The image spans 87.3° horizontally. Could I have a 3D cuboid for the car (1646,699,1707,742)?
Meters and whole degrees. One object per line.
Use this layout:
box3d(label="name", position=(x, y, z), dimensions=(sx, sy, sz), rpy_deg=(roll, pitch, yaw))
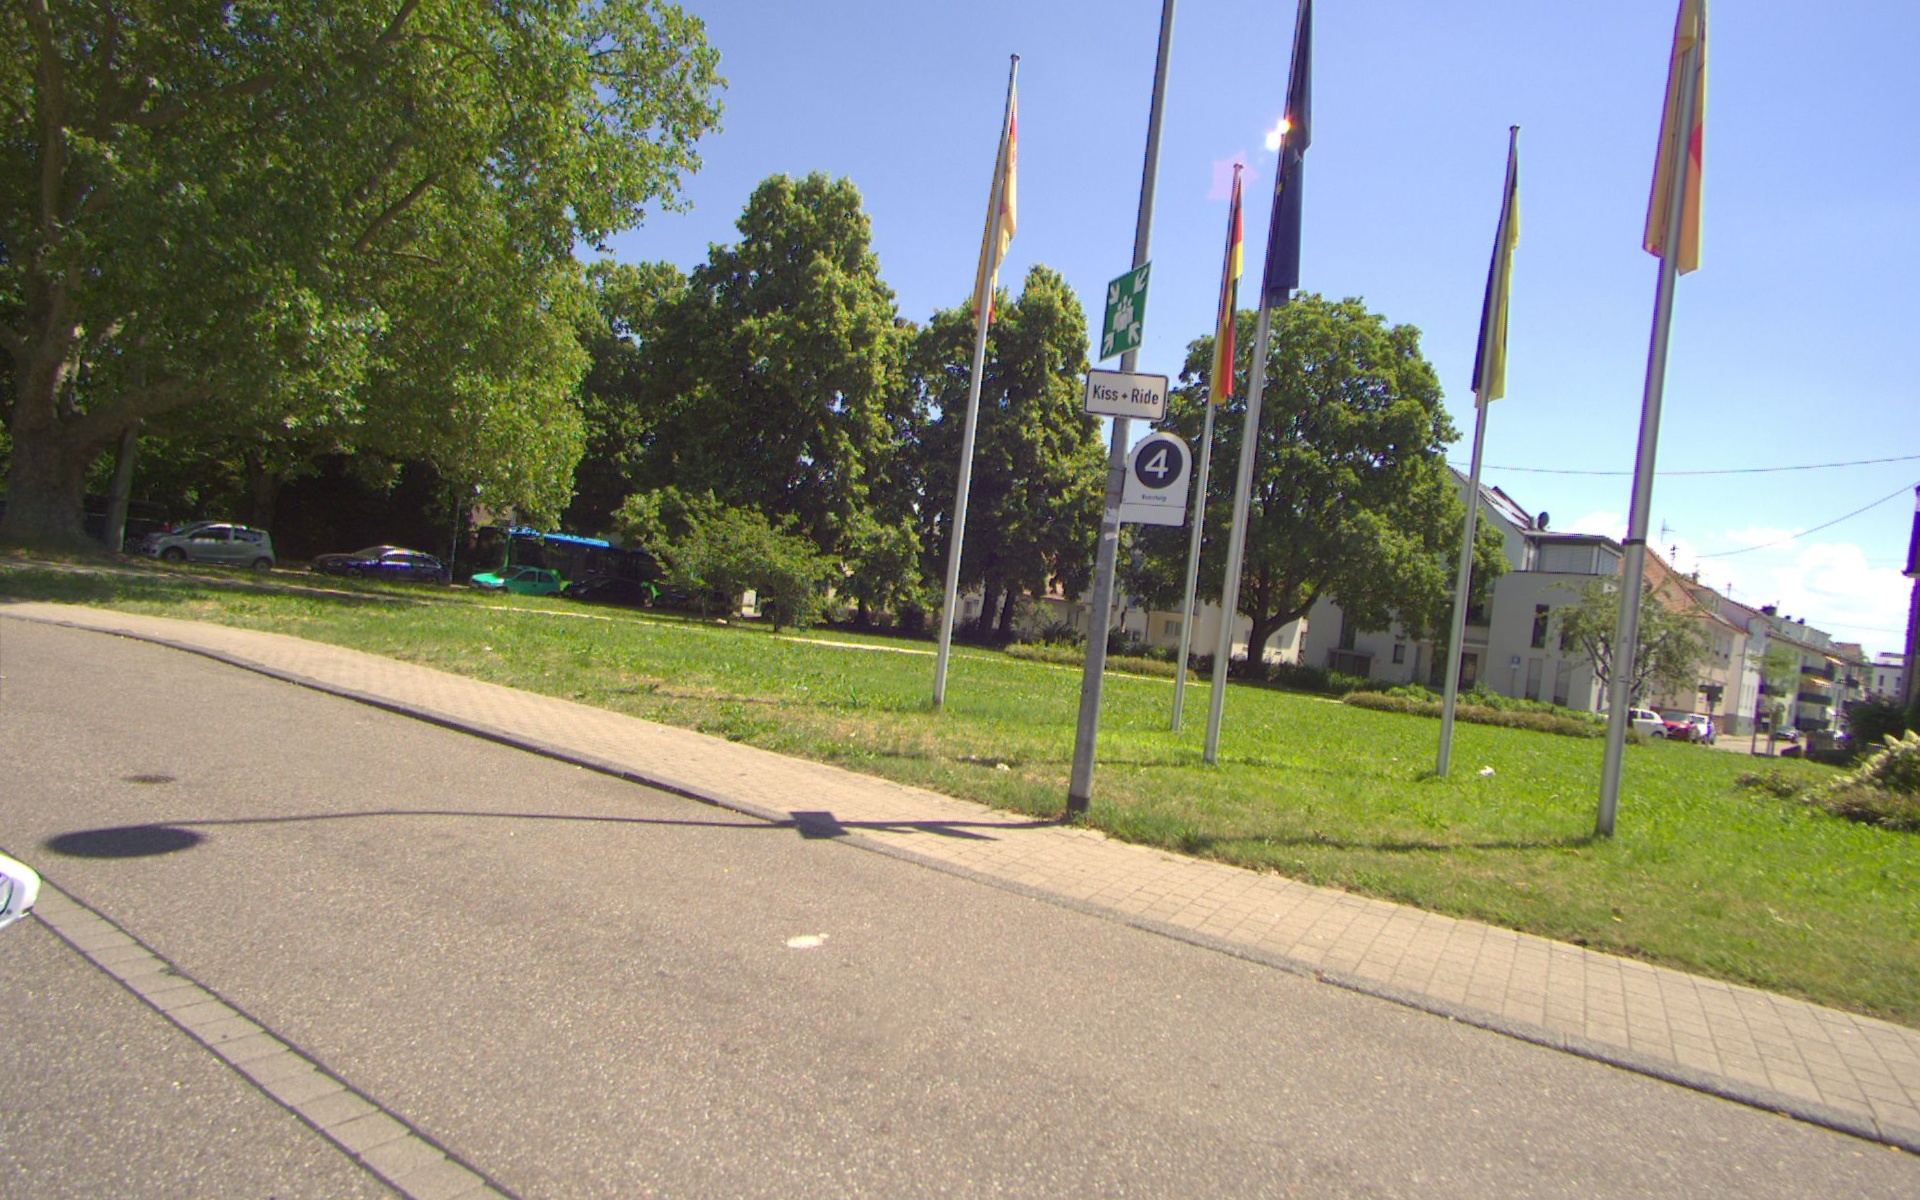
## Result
box3d(label="car", position=(37.582, 6.321, 52.727), dimensions=(3.735, 1.981, 1.810), rpy_deg=(7, -2, -43))

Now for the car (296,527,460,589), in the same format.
box3d(label="car", position=(-21.659, -1.532, 37.636), dimensions=(1.969, 1.627, 4.826), rpy_deg=(7, -1, 35))

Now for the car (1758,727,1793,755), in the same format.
box3d(label="car", position=(68.368, 11.786, 84.299), dimensions=(1.973, 2.038, 3.981), rpy_deg=(5, -2, 41))

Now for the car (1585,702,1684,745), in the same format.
box3d(label="car", position=(32.029, 5.861, 47.792), dimensions=(3.639, 1.450, 1.465), rpy_deg=(7, 0, -3))

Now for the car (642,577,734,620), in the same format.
box3d(label="car", position=(-13.737, -0.058, 50.988), dimensions=(1.968, 1.627, 4.102), rpy_deg=(5, -2, 33))

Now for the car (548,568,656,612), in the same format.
box3d(label="car", position=(-16.471, -0.442, 46.464), dimensions=(1.967, 1.432, 4.344), rpy_deg=(5, -2, 32))

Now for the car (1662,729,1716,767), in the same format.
box3d(label="car", position=(40.873, 8.264, 56.350), dimensions=(3.893, 1.838, 1.730), rpy_deg=(7, -2, -44))

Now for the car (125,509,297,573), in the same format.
box3d(label="car", position=(-24.780, -1.909, 33.414), dimensions=(1.968, 1.484, 4.108), rpy_deg=(7, -1, 34))

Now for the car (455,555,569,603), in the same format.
box3d(label="car", position=(-18.836, -0.872, 42.435), dimensions=(1.968, 1.471, 3.886), rpy_deg=(5, -2, 33))

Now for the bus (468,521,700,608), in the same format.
box3d(label="bus", position=(-19.139, -1.660, 52.647), dimensions=(2.231, 3.013, 12.396), rpy_deg=(6, -1, 32))
